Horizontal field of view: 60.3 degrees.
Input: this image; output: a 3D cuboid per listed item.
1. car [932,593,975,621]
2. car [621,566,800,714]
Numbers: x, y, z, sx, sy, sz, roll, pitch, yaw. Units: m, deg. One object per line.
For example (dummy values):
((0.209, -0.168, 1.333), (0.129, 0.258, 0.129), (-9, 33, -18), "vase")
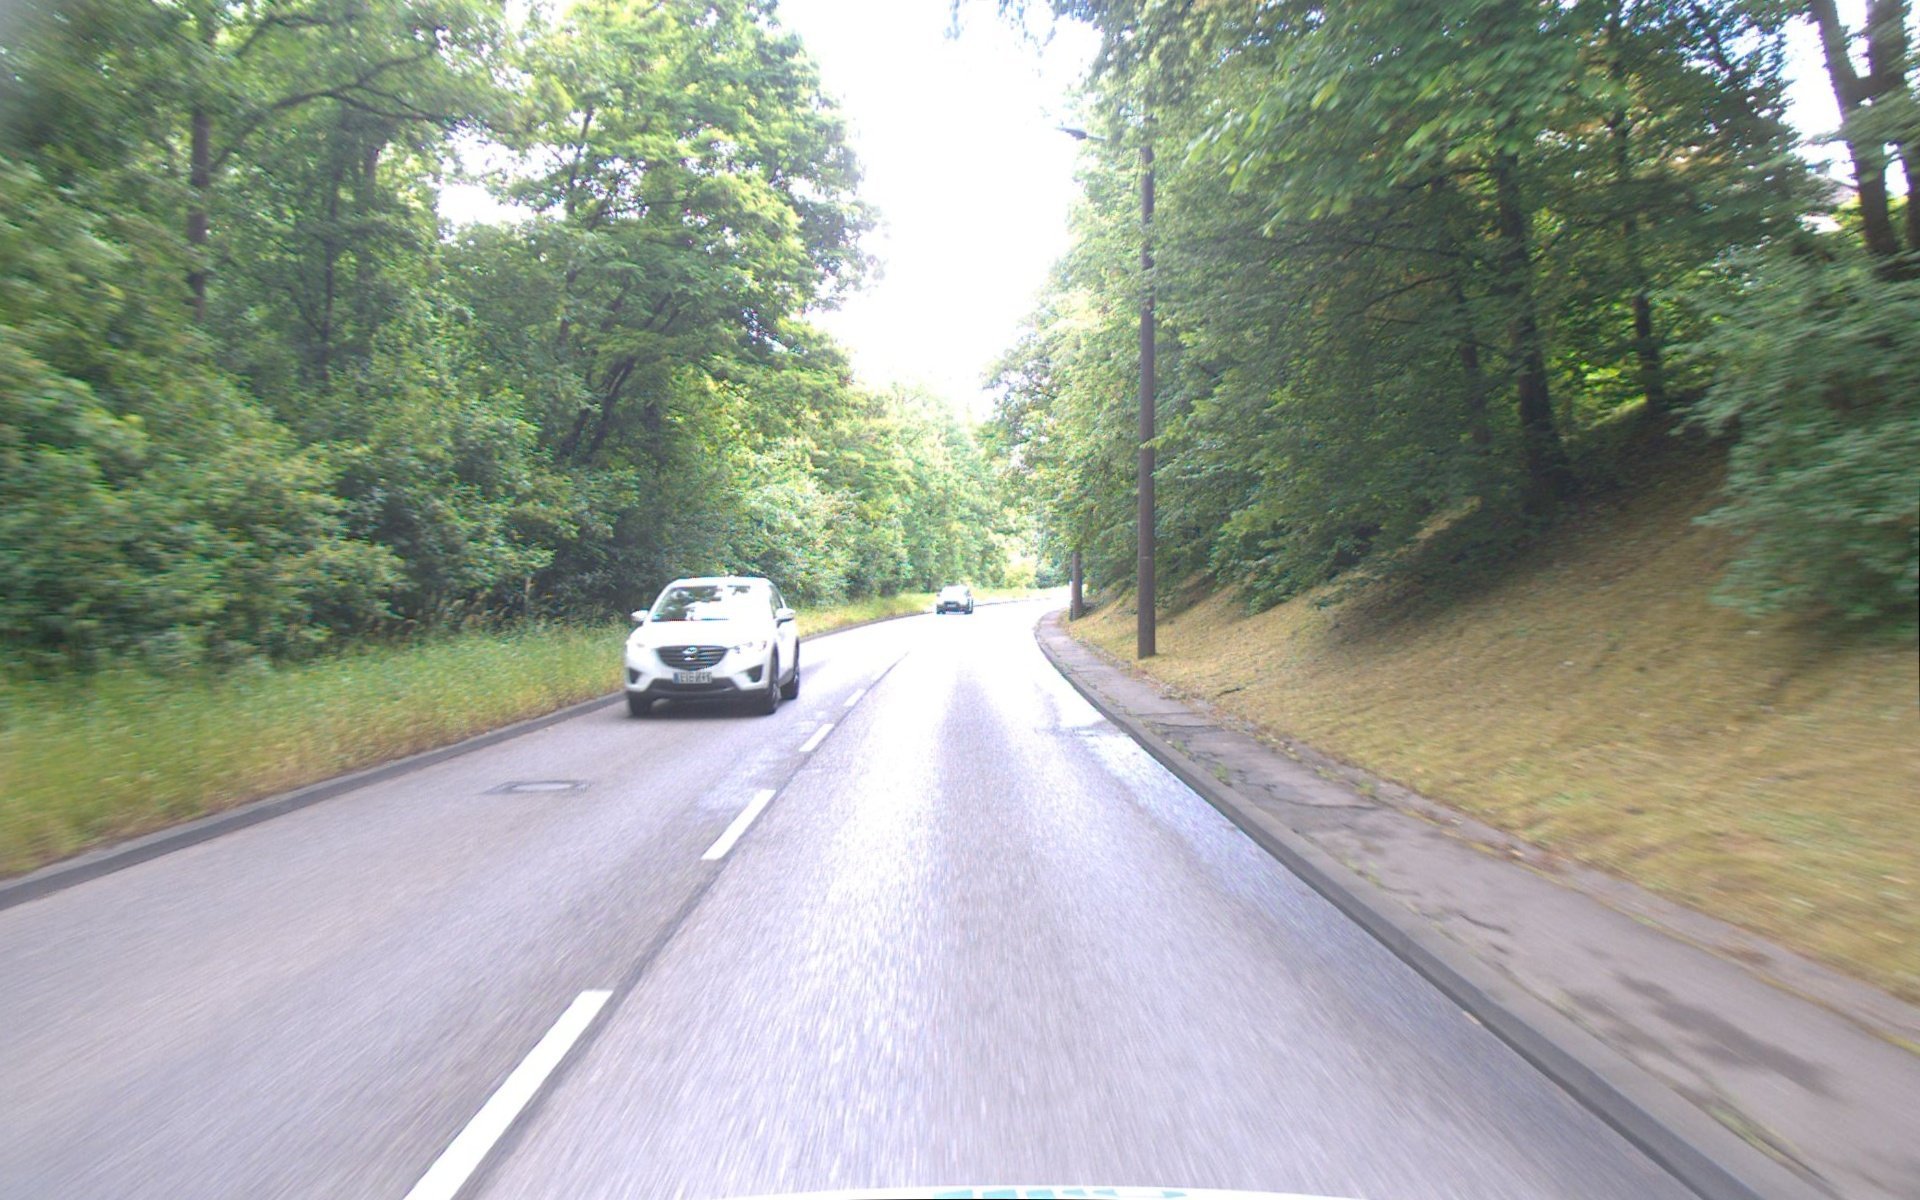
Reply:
((-0.381, 0.383, 90.777), (1.955, 1.462, 3.994), (1, 0, -7), "car")
((-3.143, 0.486, 21.608), (1.782, 1.724, 4.286), (1, 0, -2), "car")
